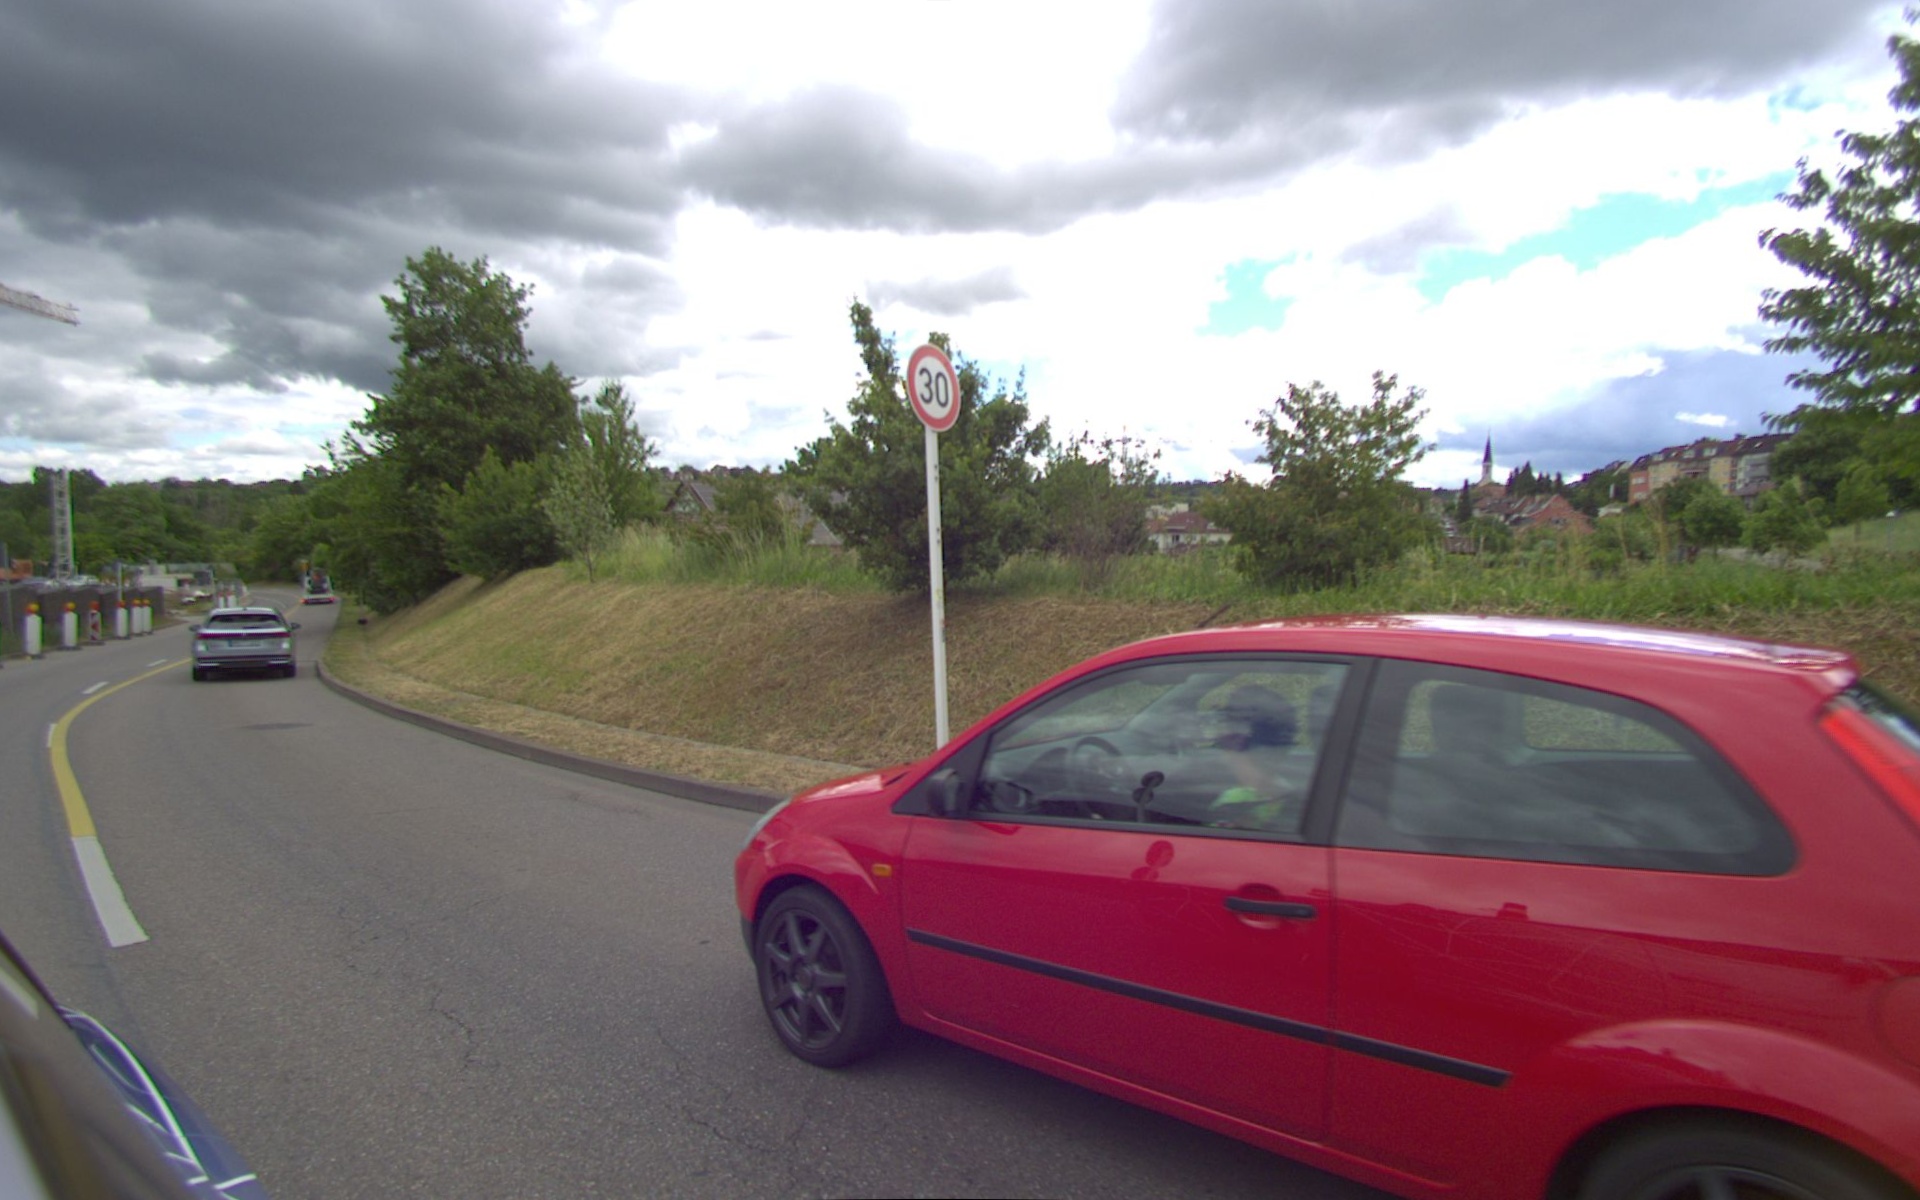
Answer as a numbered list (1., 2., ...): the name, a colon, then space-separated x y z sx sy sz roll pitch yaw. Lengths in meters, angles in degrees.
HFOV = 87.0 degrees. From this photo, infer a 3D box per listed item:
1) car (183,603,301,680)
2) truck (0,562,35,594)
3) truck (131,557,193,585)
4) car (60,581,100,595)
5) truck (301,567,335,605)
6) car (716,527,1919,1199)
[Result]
1. car: -15.705 0.872 22.028 1.857 1.489 4.610 1 -2 -38
2. truck: -125.439 -2.877 132.013 9.936 3.926 3.019 0 4 23
3. truck: -97.373 -3.482 123.500 7.568 3.281 2.737 0 4 25
4. car: -111.361 -1.557 128.099 4.062 1.574 1.886 0 4 15
5. truck: -53.435 -1.087 84.294 2.184 3.037 7.762 0 0 -31
6. car: 1.174 0.643 2.900 3.749 1.427 1.724 -2 -2 39
